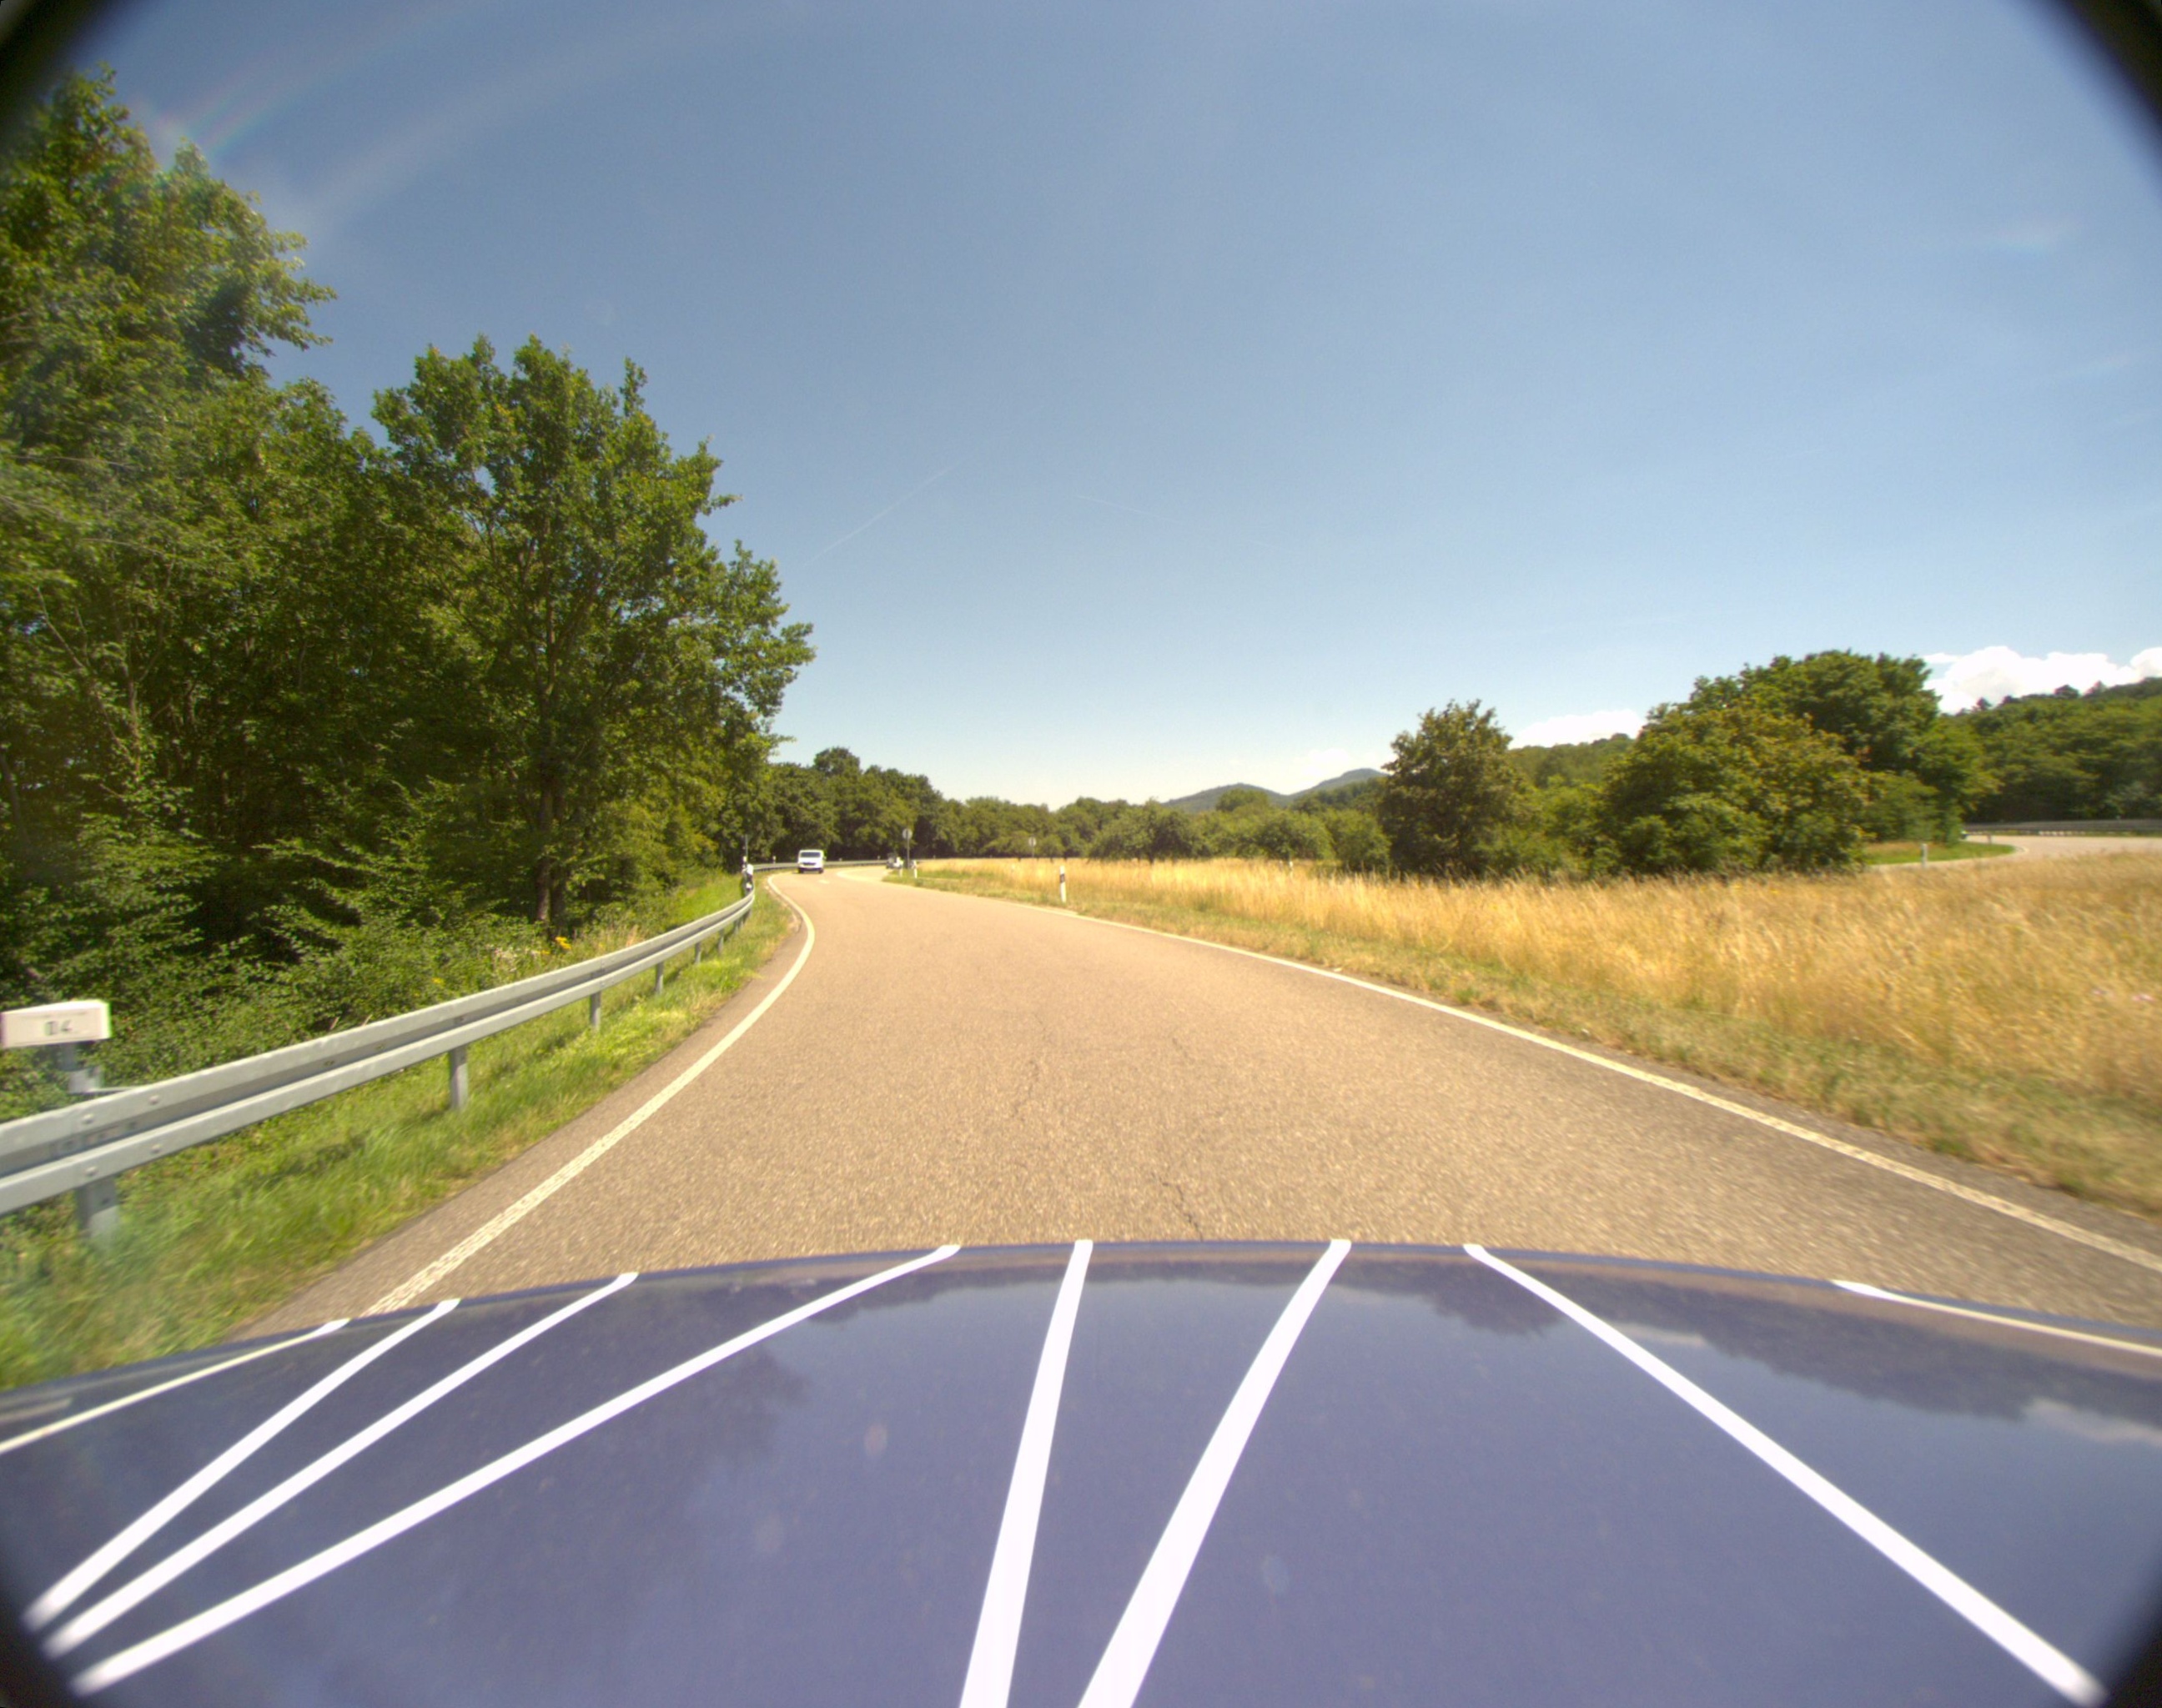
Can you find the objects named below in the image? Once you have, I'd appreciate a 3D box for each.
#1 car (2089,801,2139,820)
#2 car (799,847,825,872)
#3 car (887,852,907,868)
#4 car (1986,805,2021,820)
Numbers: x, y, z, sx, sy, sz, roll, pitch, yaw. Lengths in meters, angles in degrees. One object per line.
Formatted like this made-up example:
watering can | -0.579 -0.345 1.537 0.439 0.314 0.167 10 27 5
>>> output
car | 113.290 -4.773 83.382 1.994 1.882 4.921 -1 2 38
car | -22.749 0.427 64.318 2.002 2.002 4.437 0 0 -19
car | -23.494 0.726 97.242 2.000 2.002 4.441 0 0 -7
car | 125.644 -5.677 103.501 1.994 1.882 4.921 -1 2 38
